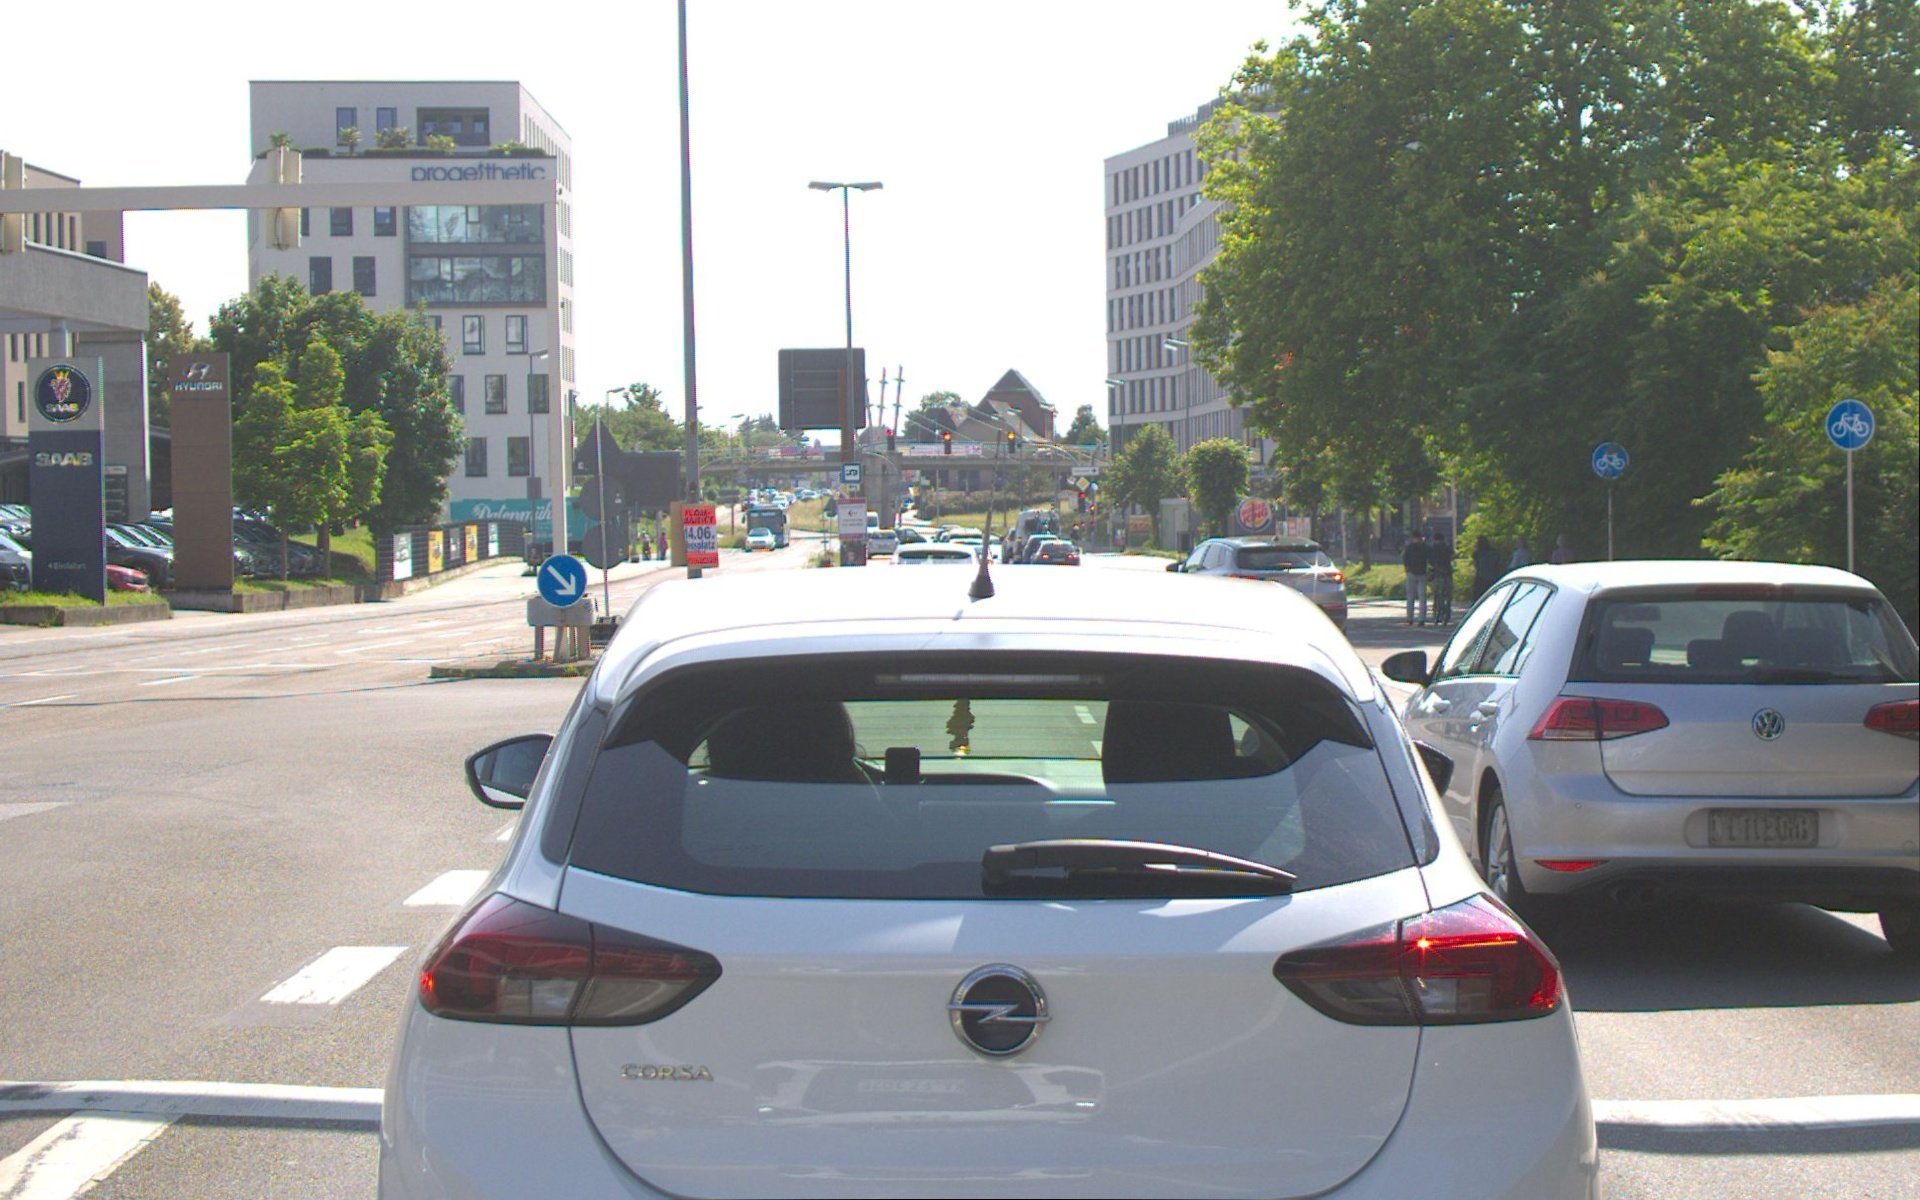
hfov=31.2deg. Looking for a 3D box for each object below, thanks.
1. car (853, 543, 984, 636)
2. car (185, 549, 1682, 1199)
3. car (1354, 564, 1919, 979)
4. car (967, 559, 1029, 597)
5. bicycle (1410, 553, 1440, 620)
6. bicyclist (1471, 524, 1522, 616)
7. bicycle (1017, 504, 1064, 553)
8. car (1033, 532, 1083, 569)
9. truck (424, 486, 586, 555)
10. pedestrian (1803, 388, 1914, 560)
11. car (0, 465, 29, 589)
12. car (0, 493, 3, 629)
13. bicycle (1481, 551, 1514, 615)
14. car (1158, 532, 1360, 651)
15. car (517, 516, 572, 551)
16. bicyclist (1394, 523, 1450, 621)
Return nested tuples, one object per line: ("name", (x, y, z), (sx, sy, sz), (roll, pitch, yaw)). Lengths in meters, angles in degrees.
("car", (-0.704, -0.194, 55.282), (1.993, 1.442, 4.371), (0, 1, -2))
("car", (-0.044, 0.670, 6.110), (1.779, 1.489, 4.000), (-1, 1, -1))
("car", (2.760, 0.577, 13.969), (1.807, 1.424, 4.000), (-1, 1, -1))
("car", (1.373, -0.798, 124.702), (1.993, 1.327, 4.000), (1, 0, -3))
("bicycle", (8.482, -0.247, 62.765), (0.372, 1.212, 1.154), (1, 1, 0))
("bicyclist", (9.698, -0.549, 62.160), (0.688, 1.637, 0.777), (-1, 1, -8))
("bicycle", (3.625, -3.232, 155.115), (1.993, 2.150, 4.000), (-1, 1, -1))
("car", (3.820, -1.946, 134.809), (1.806, 1.381, 4.000), (1, 0, 0))
("truck", (-26.227, -4.562, 197.923), (9.058, 3.821, 3.082), (-1, 1, -10))
("pedestrian", (10.675, -1.484, 40.880), (1.027, 2.007, 1.039), (-1, 1, 0))
("car", (-22.183, -1.517, 72.706), (4.357, 2.592, 2.000), (-1, 1, 5))
("car", (-21.363, -0.735, 67.401), (4.498, 2.675, 2.128), (0, 1, 9))
("bicycle", (9.714, -0.306, 62.157), (0.373, 1.143, 1.034), (1, 0, -2))
("car", (4.089, -0.155, 47.695), (1.993, 1.546, 4.434), (-1, 1, -5))
("car", (-17.140, -2.747, 142.014), (1.806, 1.381, 4.000), (1, 0, 0))
("bicyclist", (8.433, -0.511, 62.764), (0.879, 1.766, 0.864), (-1, 1, 0))
